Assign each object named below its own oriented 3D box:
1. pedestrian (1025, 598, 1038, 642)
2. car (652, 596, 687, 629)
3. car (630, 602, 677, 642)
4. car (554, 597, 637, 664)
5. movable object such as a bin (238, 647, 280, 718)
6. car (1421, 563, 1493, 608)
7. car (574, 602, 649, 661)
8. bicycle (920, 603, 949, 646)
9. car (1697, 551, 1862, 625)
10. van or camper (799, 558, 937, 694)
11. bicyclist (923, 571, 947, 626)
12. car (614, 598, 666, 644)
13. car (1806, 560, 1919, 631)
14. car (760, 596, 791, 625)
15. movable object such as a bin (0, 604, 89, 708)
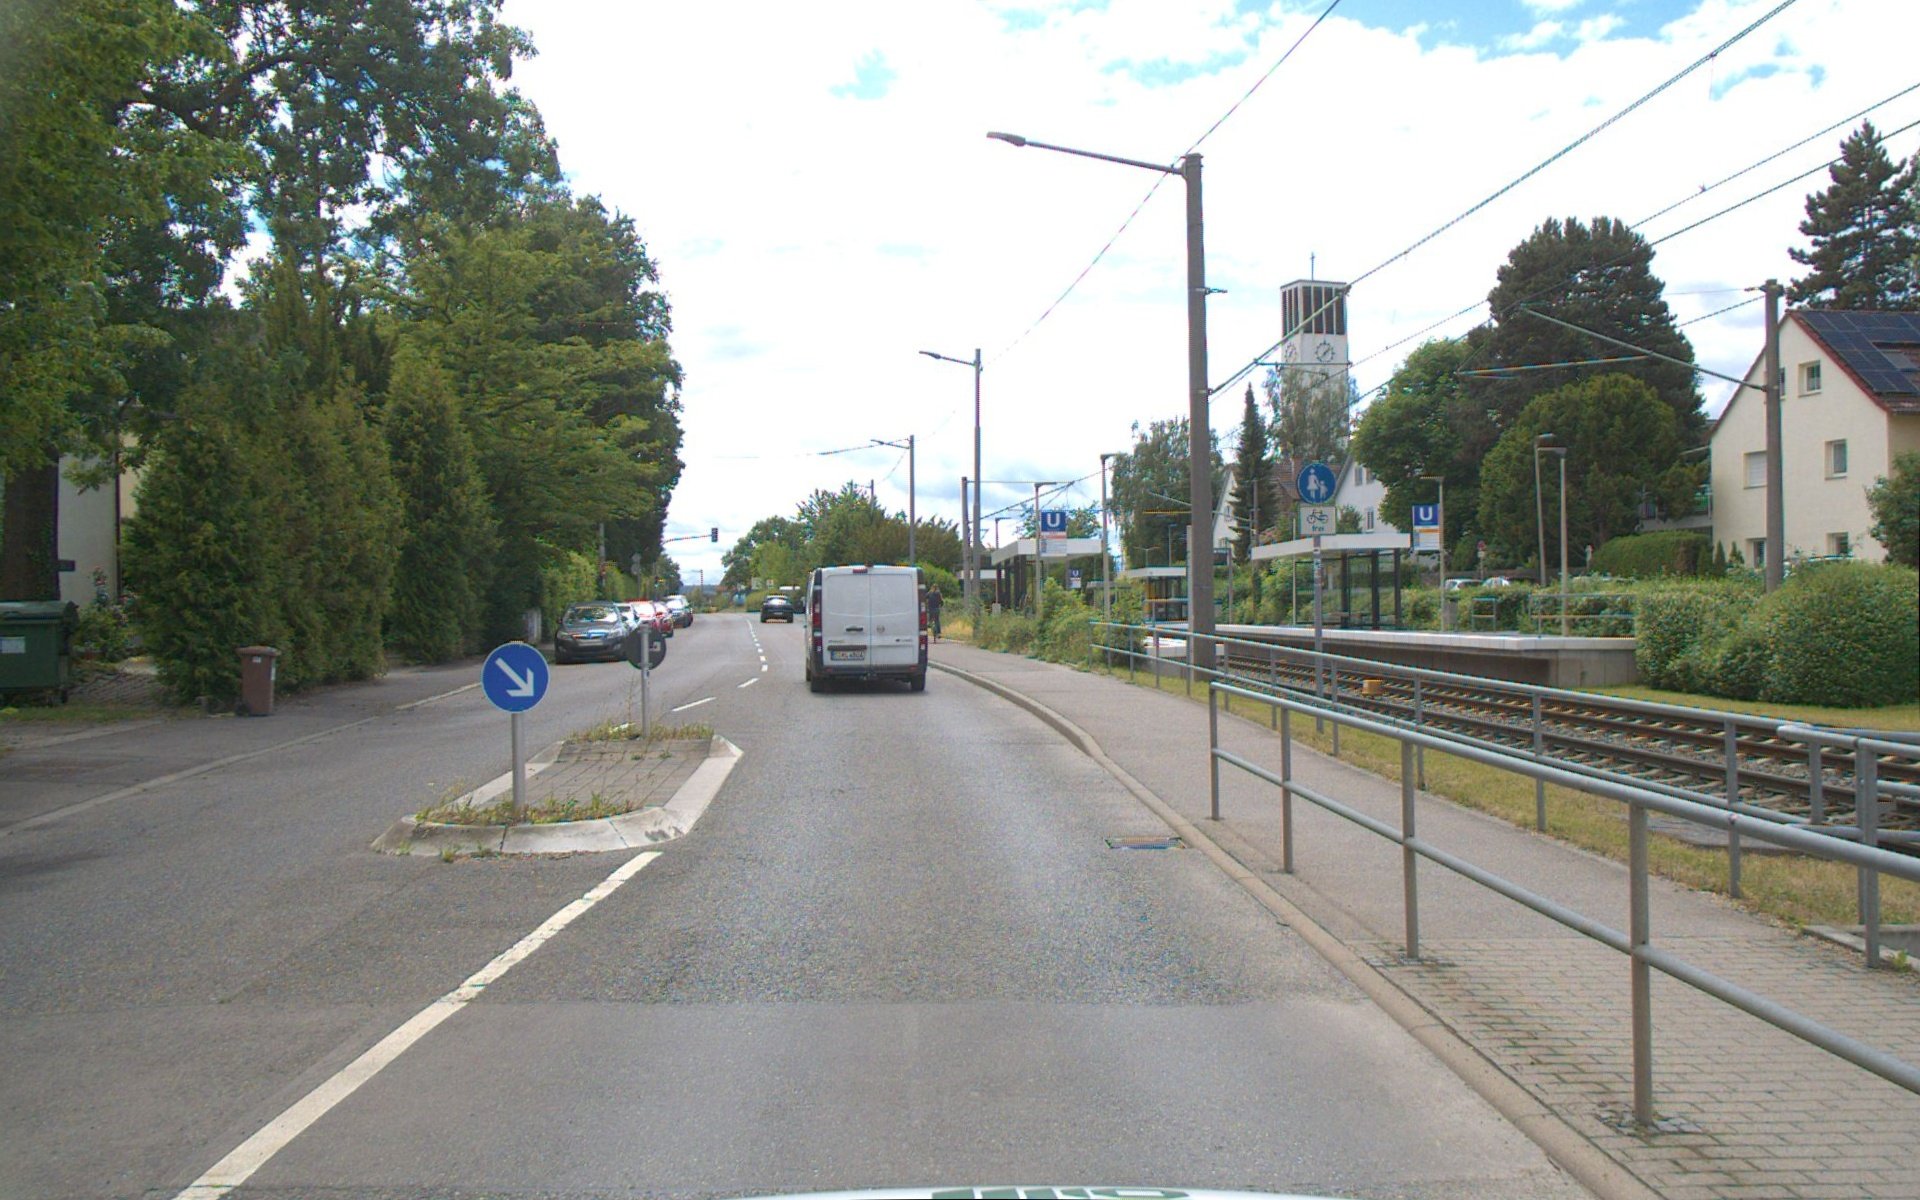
[{"bbox_3d":[2.227,0.637,51.792,0.386,1.367,0.487,0,0,4],"label":"pedestrian"},{"bbox_3d":[-15.455,0.627,88.071,1.729,1.654,4.177,-2,0,-9],"label":"car"},{"bbox_3d":[-12.401,0.858,67.149,1.729,1.497,4.177,-2,0,-9],"label":"car"},{"bbox_3d":[-9.252,0.733,42.258,1.705,1.531,4.468,-2,0,-9],"label":"car"},{"bbox_3d":[-9.687,1.140,22.869,0.456,0.946,0.427,3,-2,-20],"label":"movable object such as a bin"},{"bbox_3d":[20.217,-0.570,67.382,1.697,1.782,3.933,0,0,-1],"label":"car"},{"bbox_3d":[-9.992,0.860,47.698,1.704,1.531,3.957,-2,0,-7],"label":"car"},{"bbox_3d":[-0.787,0.746,51.265,0.607,1.268,2.391,0,0,-8],"label":"bicycle"},{"bbox_3d":[25.166,-0.366,50.837,4.248,1.977,1.743,-4,0,-9],"label":"car"},{"bbox_3d":[-1.609,0.419,27.374,1.956,2.049,4.438,1,-1,-7],"label":"van or camper"},{"bbox_3d":[-0.780,-0.063,51.123,0.627,1.678,0.817,0,0,-8],"label":"bicyclist"},{"bbox_3d":[-11.581,0.733,59.982,1.558,1.531,3.510,-2,0,-7],"label":"car"},{"bbox_3d":[21.481,-0.102,38.113,1.845,1.548,3.999,-1,0,-2],"label":"car"},{"bbox_3d":[-11.220,0.617,100.705,1.816,1.677,3.730,-1,0,-5],"label":"car"},{"bbox_3d":[-13.084,0.778,23.340,1.254,1.425,0.893,-1,0,-20],"label":"movable object such as a bin"}]
